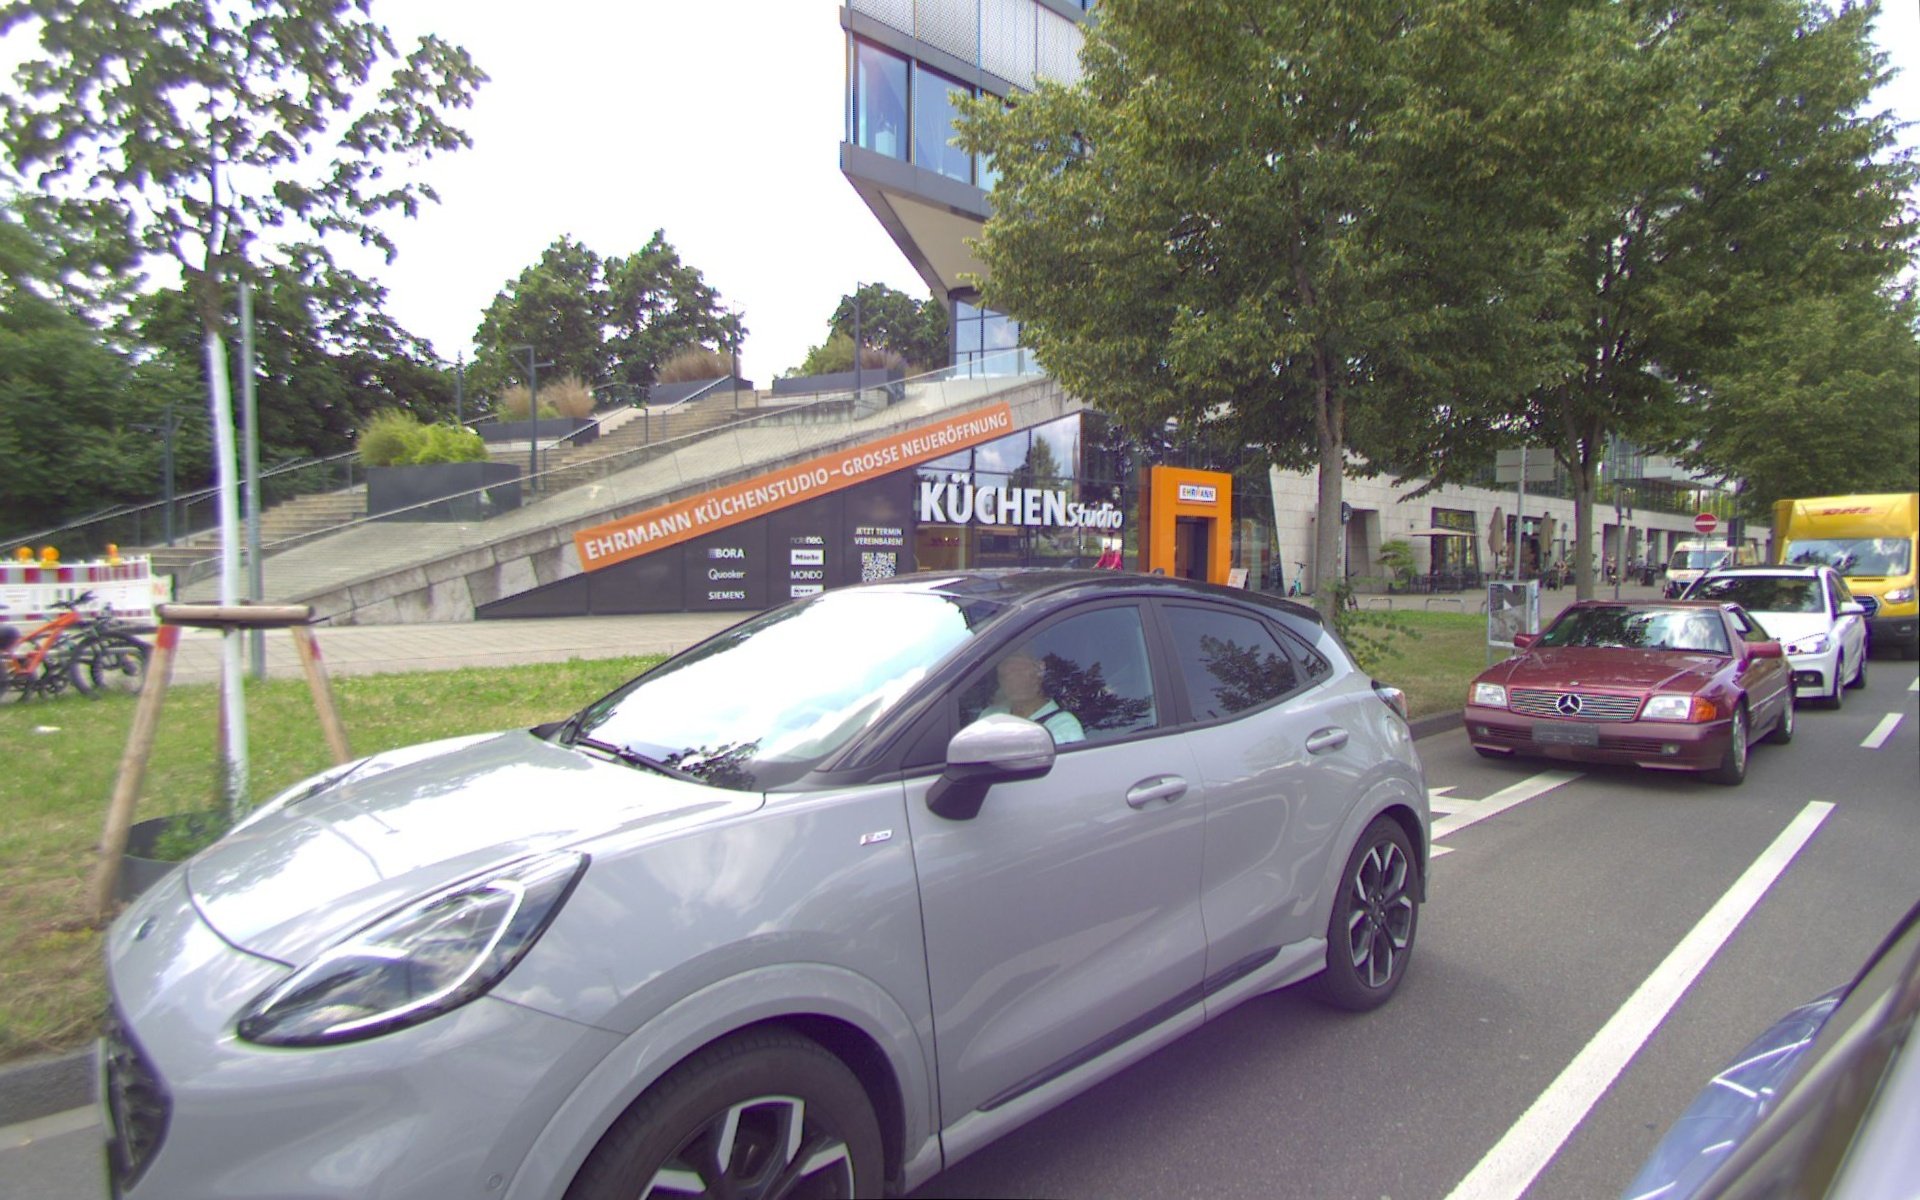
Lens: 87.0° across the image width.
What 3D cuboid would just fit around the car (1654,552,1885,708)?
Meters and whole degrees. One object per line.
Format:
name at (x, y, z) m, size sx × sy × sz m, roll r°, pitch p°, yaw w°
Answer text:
car at (10.084, 0.259, 12.498) m, size 4.059 × 1.618 × 1.671 m, roll -2°, pitch 1°, yaw -43°

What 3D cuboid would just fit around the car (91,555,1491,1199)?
car at (-0.029, 0.613, 3.152) m, size 4.023 × 1.489 × 1.672 m, roll -2°, pitch 4°, yaw -42°

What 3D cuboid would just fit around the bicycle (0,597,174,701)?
bicycle at (-7.892, 0.414, 8.949) m, size 0.357 × 0.836 × 1.452 m, roll 2°, pitch 3°, yaw 41°

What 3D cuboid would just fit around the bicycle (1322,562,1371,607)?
bicycle at (9.825, -0.407, 25.716) m, size 0.515 × 1.101 × 1.722 m, roll 3°, pitch 3°, yaw 43°

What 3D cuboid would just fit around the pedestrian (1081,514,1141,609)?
pedestrian at (3.373, -0.861, 22.597) m, size 0.753 × 2.038 × 1.212 m, roll 2°, pitch 3°, yaw 45°

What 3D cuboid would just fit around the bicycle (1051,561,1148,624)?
bicycle at (3.101, -0.207, 22.361) m, size 2.372 × 1.259 × 0.811 m, roll -3°, pitch 6°, yaw -45°

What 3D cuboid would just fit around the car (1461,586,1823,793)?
car at (5.853, 0.549, 8.482) m, size 4.024 × 1.277 × 1.671 m, roll -2°, pitch 1°, yaw -43°

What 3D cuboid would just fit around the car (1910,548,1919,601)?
car at (34.170, -0.902, 34.696) m, size 4.222 × 1.783 × 1.996 m, roll -2°, pitch 1°, yaw -42°

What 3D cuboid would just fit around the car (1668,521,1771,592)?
car at (28.021, -1.566, 37.254) m, size 6.177 × 2.423 × 2.157 m, roll -2°, pitch 2°, yaw -45°

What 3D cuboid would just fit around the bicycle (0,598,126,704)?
bicycle at (-7.937, 0.426, 8.462) m, size 0.357 × 0.836 × 1.452 m, roll 2°, pitch 3°, yaw 41°

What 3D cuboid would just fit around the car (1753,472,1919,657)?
car at (16.986, -0.676, 19.000) m, size 7.136 × 2.888 × 2.280 m, roll -2°, pitch 2°, yaw -43°
